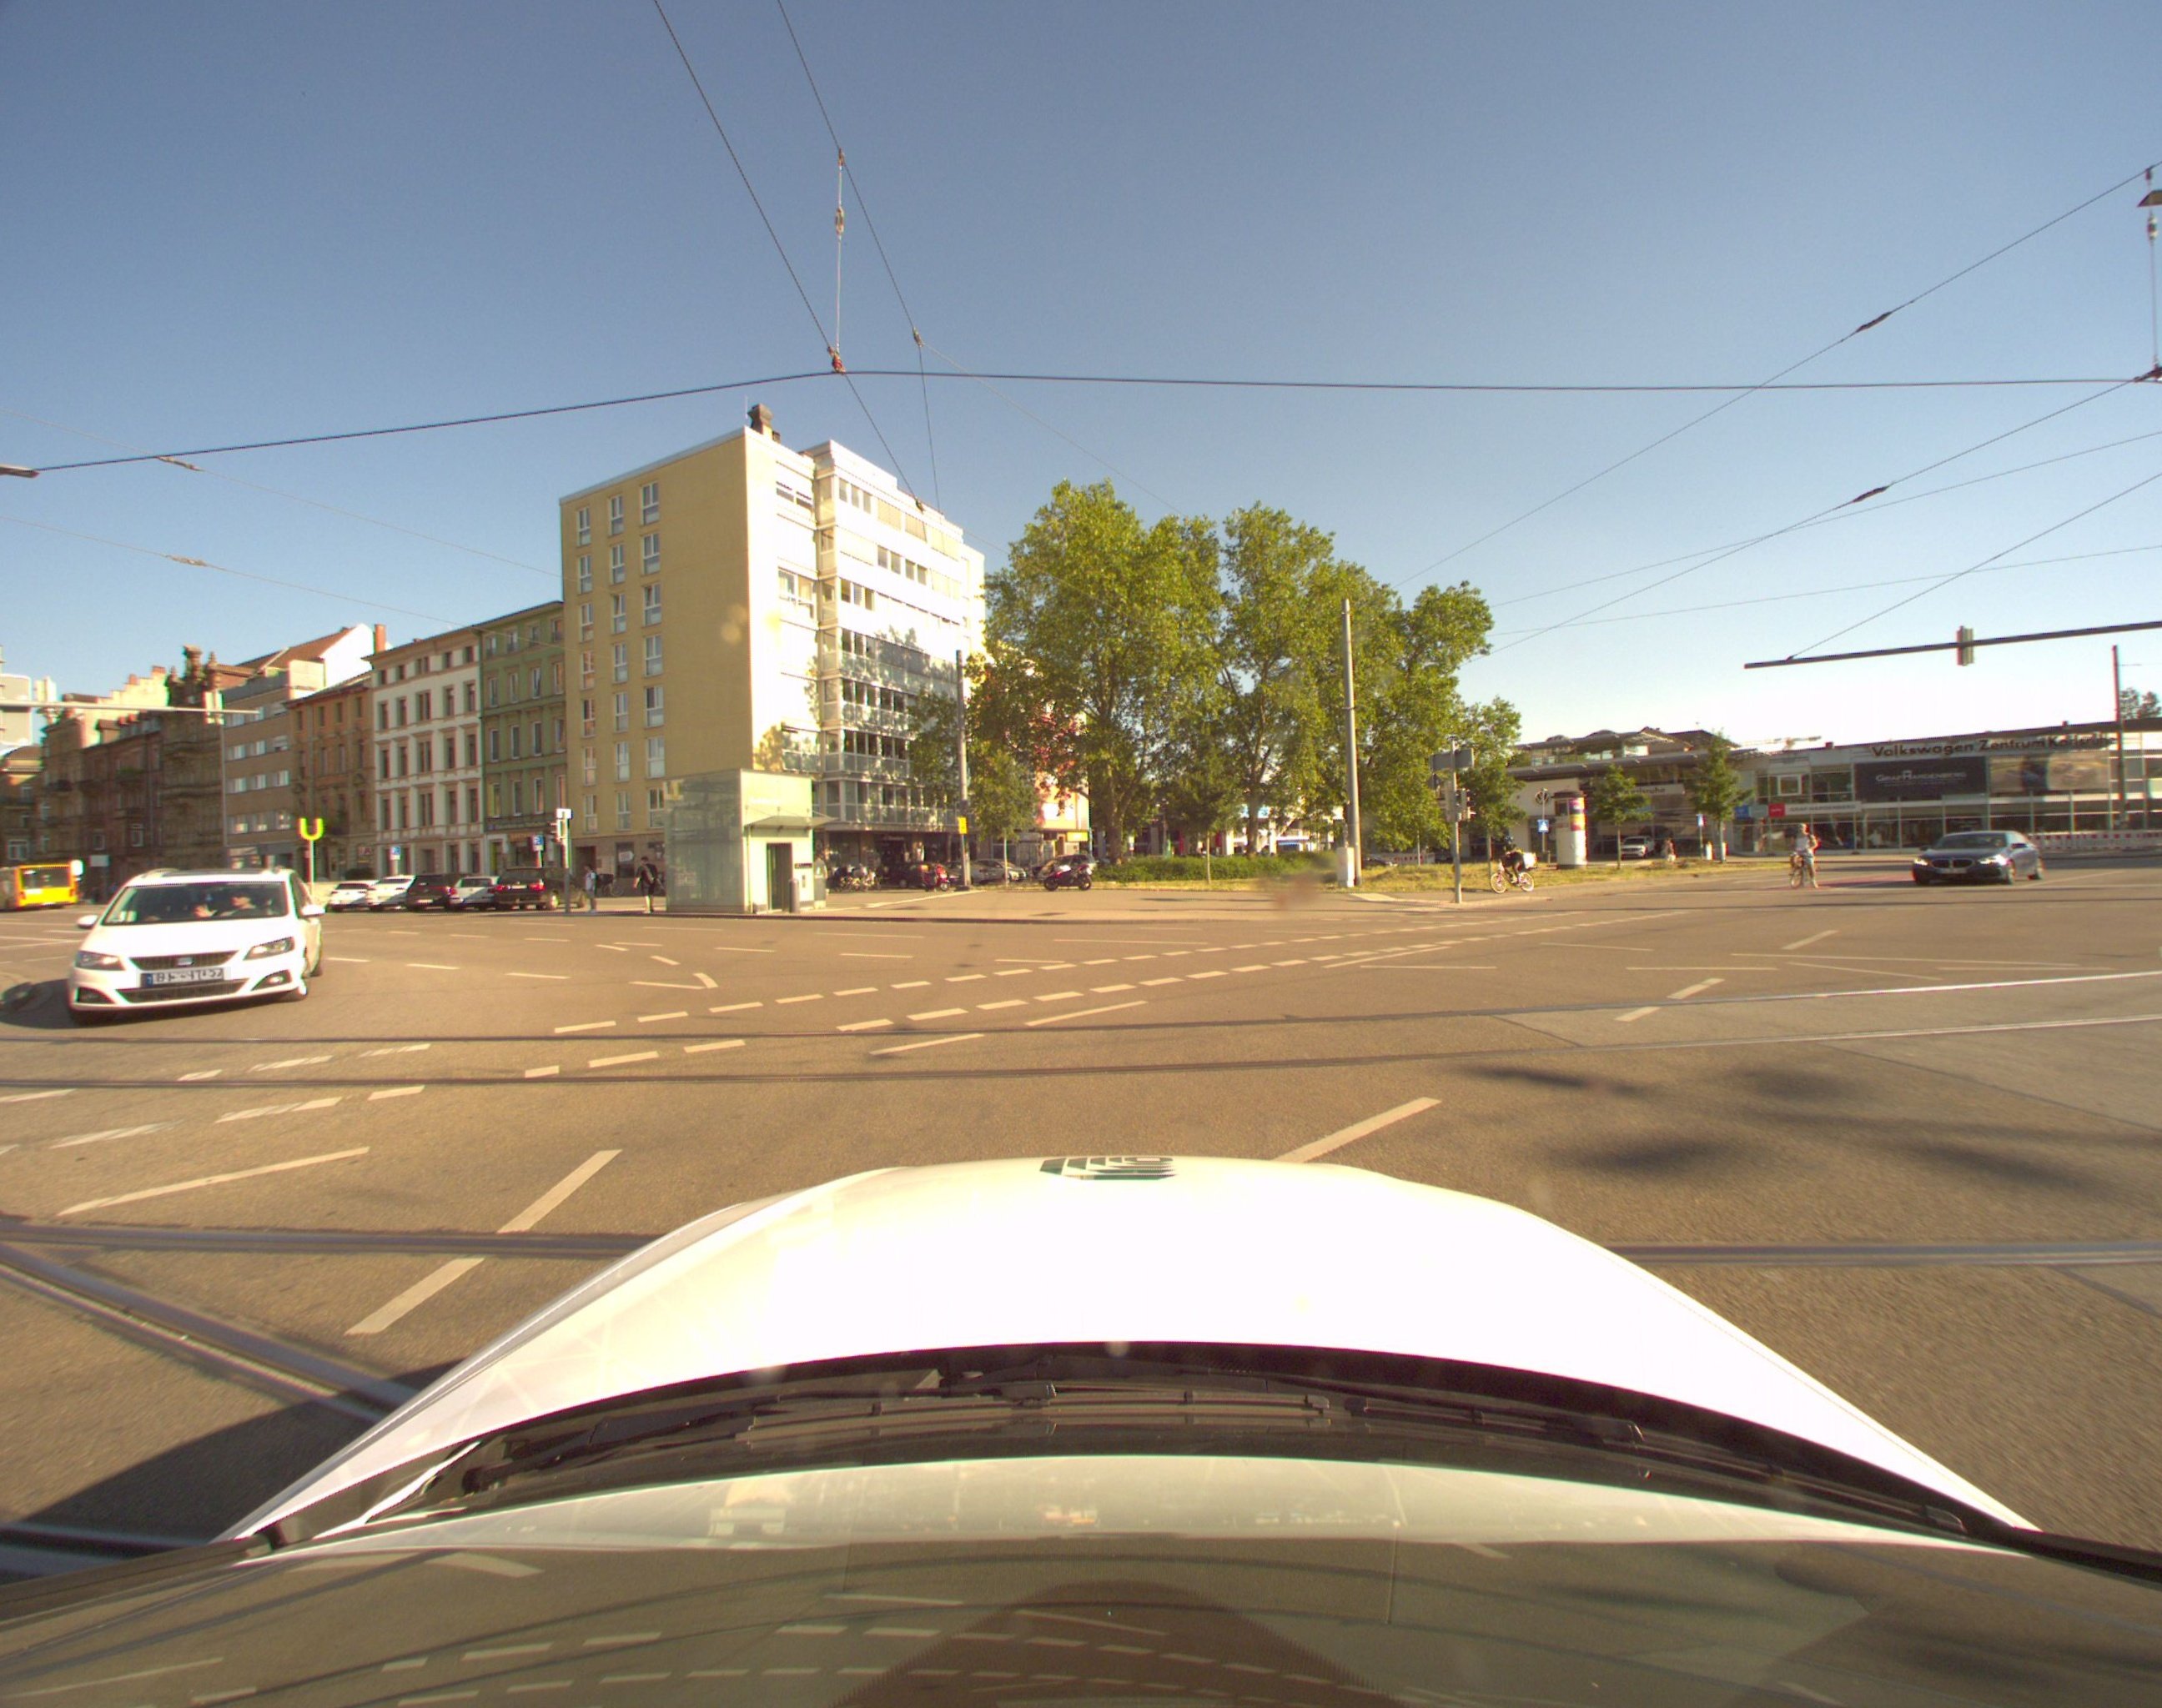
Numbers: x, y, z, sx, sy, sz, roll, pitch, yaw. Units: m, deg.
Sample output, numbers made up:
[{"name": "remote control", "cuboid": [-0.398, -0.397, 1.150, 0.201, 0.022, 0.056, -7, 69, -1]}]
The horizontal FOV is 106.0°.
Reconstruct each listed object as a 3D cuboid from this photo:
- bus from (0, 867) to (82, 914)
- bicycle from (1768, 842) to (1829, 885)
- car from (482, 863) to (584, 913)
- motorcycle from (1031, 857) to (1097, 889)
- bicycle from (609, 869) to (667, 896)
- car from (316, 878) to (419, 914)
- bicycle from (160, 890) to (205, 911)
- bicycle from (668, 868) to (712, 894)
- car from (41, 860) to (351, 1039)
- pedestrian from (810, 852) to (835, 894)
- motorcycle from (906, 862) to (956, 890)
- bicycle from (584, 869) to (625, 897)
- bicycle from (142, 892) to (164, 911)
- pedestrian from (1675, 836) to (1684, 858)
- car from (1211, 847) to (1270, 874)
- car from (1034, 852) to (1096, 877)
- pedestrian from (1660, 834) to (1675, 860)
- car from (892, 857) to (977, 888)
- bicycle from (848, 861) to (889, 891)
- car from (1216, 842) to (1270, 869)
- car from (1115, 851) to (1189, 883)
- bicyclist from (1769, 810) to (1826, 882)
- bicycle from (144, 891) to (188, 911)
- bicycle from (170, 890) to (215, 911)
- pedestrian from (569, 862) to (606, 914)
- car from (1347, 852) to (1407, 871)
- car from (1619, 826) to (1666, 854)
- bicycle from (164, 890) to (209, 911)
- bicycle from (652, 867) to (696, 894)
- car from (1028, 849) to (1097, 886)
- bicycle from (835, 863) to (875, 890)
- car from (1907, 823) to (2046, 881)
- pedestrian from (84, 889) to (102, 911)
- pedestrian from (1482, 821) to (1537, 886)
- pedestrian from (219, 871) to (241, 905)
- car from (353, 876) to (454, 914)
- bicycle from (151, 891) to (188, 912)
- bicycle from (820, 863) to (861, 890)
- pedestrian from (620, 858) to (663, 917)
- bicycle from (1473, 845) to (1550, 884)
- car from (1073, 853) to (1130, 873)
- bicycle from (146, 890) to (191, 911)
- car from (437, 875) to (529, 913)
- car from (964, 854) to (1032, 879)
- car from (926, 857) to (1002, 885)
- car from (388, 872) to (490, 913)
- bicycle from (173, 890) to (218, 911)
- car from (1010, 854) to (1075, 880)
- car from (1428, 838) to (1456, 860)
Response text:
[{"name": "bus", "cuboid": [-79.313, 2.772, 61.267, 12.382, 3.181, 2.741, -2, 1, 28]}, {"name": "bicycle", "cuboid": [20.971, 0.271, 23.791, 2.545, 1.123, 1.021, -2, -2, -42]}, {"name": "car", "cuboid": [-21.789, 1.313, 32.602, 1.956, 1.814, 4.232, -1, -1, -13]}, {"name": "motorcycle", "cuboid": [-0.635, 0.714, 30.547, 2.259, 1.074, 1.044, -2, 1, 13]}, {"name": "bicycle", "cuboid": [-22.699, 1.462, 41.699, 3.023, 1.264, 0.994, -2, 0, 27]}, {"name": "car", "cuboid": [-33.833, 1.958, 38.780, 1.958, 1.464, 4.094, -2, 0, -13]}, {"name": "bicycle", "cuboid": [-55.121, 2.841, 49.987, 0.464, 1.187, 1.781, -1, 0, 28]}, {"name": "bicycle", "cuboid": [-19.796, 1.361, 41.185, 2.270, 1.248, 0.664, -2, 1, 26]}, {"name": "car", "cuboid": [-11.277, 1.031, 10.790, 1.951, 1.733, 4.414, -4, 2, -37]}, {"name": "pedestrian", "cuboid": [-10.885, 0.798, 34.253, 0.757, 1.728, 0.690, -2, 0, -41]}, {"name": "motorcycle", "cuboid": [-6.236, 0.914, 33.854, 1.781, 1.046, 0.886, -3, 0, 25]}, {"name": "bicycle", "cuboid": [-25.150, 1.496, 42.983, 2.200, 1.357, 0.939, 1, 2, 31]}, {"name": "bicycle", "cuboid": [-56.052, 2.854, 49.180, 1.748, 1.147, 0.473, -1, -1, 28]}, {"name": "pedestrian", "cuboid": [35.873, -0.431, 48.808, 0.406, 1.315, 0.576, -2, 0, 37]}, {"name": "car", "cuboid": [11.804, 0.425, 60.350, 3.950, 1.868, 1.868, 1, 2, 26]}, {"name": "car", "cuboid": [-1.133, 0.744, 57.961, 3.949, 1.635, 1.868, 1, 2, 28]}, {"name": "pedestrian", "cuboid": [35.401, -0.432, 49.157, 0.714, 1.515, 0.837, -2, 0, 37]}, {"name": "car", "cuboid": [-7.958, 0.964, 44.198, 4.176, 1.482, 1.867, 1, 2, 25]}, {"name": "bicycle", "cuboid": [-10.407, 1.056, 39.982, 0.806, 1.345, 2.009, -2, 1, 23]}, {"name": "car", "cuboid": [13.059, 0.093, 65.716, 3.950, 1.999, 1.868, 1, 2, 26]}, {"name": "car", "cuboid": [3.962, 0.737, 45.117, 3.965, 1.510, 1.803, -3, -2, 7]}, {"name": "bicyclist", "cuboid": [20.824, -0.227, 23.674, 1.151, 2.014, 1.021, -2, -2, -42]}, {"name": "bicycle", "cuboid": [-57.364, 2.940, 51.070, 0.464, 1.187, 1.781, -1, 0, 28]}, {"name": "bicycle", "cuboid": [-53.799, 2.792, 49.309, 0.464, 1.178, 1.781, -1, 0, 28]}, {"name": "pedestrian", "cuboid": [-16.999, 1.163, 28.049, 0.746, 1.728, 0.700, -2, 0, 12]}, {"name": "car", "cuboid": [23.284, 0.561, 64.241, 1.763, 1.336, 4.119, -2, 3, -41]}, {"name": "car", "cuboid": [41.362, -1.060, 59.972, 4.022, 2.013, 1.976, -2, 3, -42]}, {"name": "bicycle", "cuboid": [-54.671, 2.815, 49.768, 0.464, 1.187, 1.781, -1, 0, 28]}, {"name": "bicycle", "cuboid": [-20.225, 1.297, 40.485, 2.270, 1.248, 0.664, -2, 1, 26]}, {"name": "car", "cuboid": [-0.944, 0.718, 44.575, 1.897, 1.698, 4.025, -5, 0, 28]}, {"name": "bicycle", "cuboid": [-11.209, 1.111, 40.511, 0.806, 1.200, 2.009, -2, 1, 23]}, {"name": "car", "cuboid": [24.881, -0.086, 22.593, 4.015, 1.453, 1.979, -2, 0, -33]}, {"name": "pedestrian", "cuboid": [-91.641, 4.265, 75.556, 1.122, 1.930, 0.830, -2, 0, 28]}, {"name": "pedestrian", "cuboid": [13.678, -0.045, 26.000, 1.274, 2.013, 1.024, -1, 2, -31]}, {"name": "pedestrian", "cuboid": [-53.390, 2.129, 51.078, 0.689, 2.013, 0.758, 1, 2, 28]}, {"name": "car", "cuboid": [-30.666, 1.829, 37.038, 1.958, 1.570, 4.228, -1, -1, -16]}, {"name": "bicycle", "cuboid": [-53.676, 2.798, 47.939, 1.756, 1.147, 0.471, -1, -1, 4]}, {"name": "bicycle", "cuboid": [-12.056, 1.111, 40.886, 0.806, 1.248, 2.009, -2, 1, 23]}, {"name": "pedestrian", "cuboid": [-13.434, 1.004, 24.912, 0.865, 1.728, 0.794, -2, 0, -4]}, {"name": "bicycle", "cuboid": [13.786, 0.304, 26.069, 2.539, 1.123, 1.024, -1, 2, -31]}, {"name": "car", "cuboid": [1.549, 0.668, 61.951, 3.949, 1.420, 1.868, 1, 2, 28]}, {"name": "bicycle", "cuboid": [-56.927, 2.885, 50.836, 0.464, 1.187, 1.808, -1, 0, 28]}, {"name": "car", "cuboid": [-24.593, 1.637, 33.649, 1.786, 1.400, 3.871, -1, -2, -16]}, {"name": "car", "cuboid": [-5.272, 0.781, 51.644, 3.949, 1.420, 1.868, 1, 2, 28]}, {"name": "car", "cuboid": [-6.719, 0.926, 46.557, 3.949, 1.420, 1.868, 1, 2, 28]}, {"name": "car", "cuboid": [-27.692, 1.608, 35.304, 1.957, 1.598, 4.229, -1, -1, -15]}, {"name": "bicycle", "cuboid": [-53.361, 2.798, 49.076, 0.464, 1.178, 1.781, -1, 0, 28]}, {"name": "car", "cuboid": [-2.599, 0.855, 55.019, 3.949, 1.635, 1.868, 1, 2, 28]}, {"name": "car", "cuboid": [31.155, -0.436, 70.426, 1.780, 1.509, 4.021, 0, 6, 18]}]
